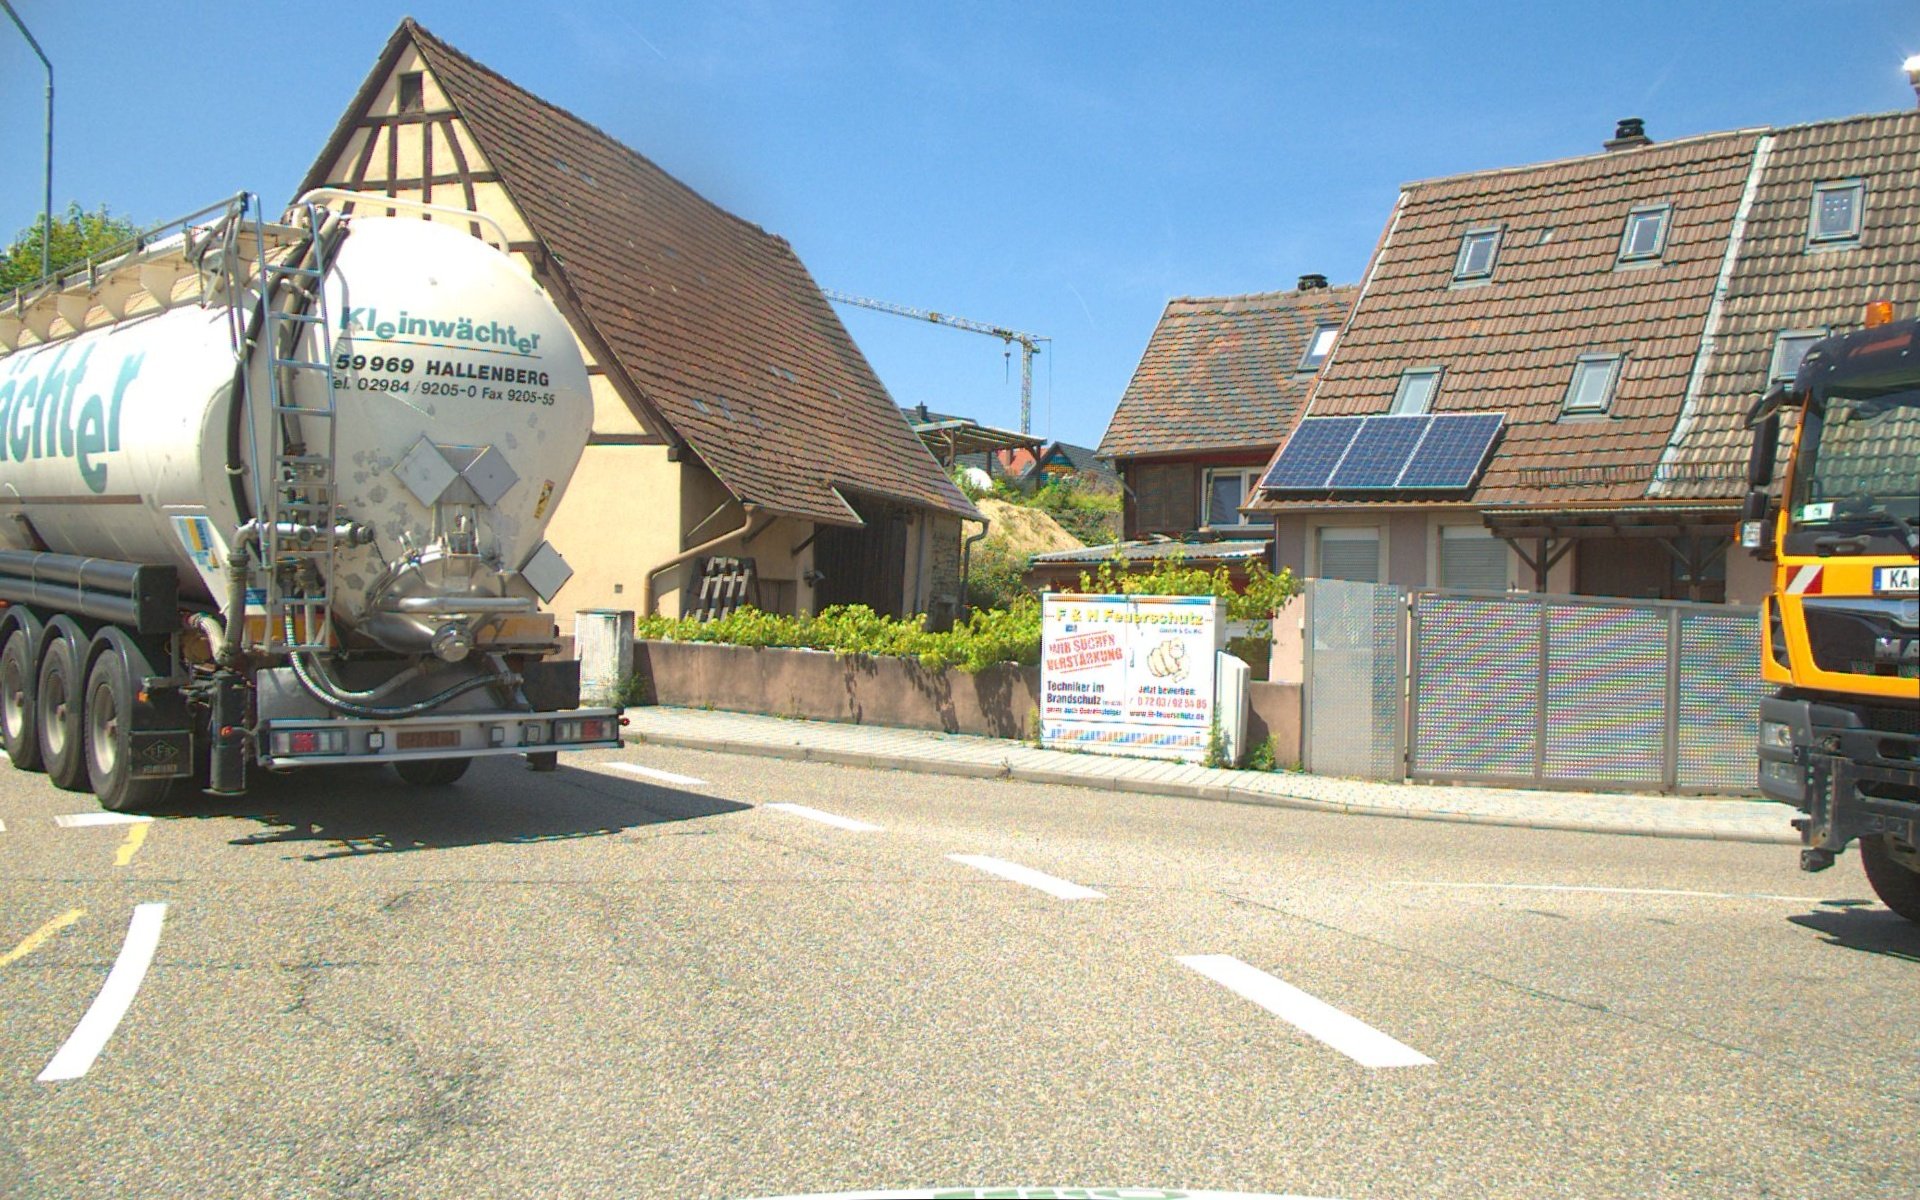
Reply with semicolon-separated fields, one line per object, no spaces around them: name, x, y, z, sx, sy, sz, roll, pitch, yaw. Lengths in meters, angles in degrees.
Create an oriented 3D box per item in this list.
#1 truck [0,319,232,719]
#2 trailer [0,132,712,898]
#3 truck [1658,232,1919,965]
truck;-11.482;-0.881;19.074;5.461;4.034;2.990;2;0;32
trailer;-6.522;-0.543;13.958;2.936;4.017;11.444;3;0;-41
truck;7.637;0.199;8.626;7.320;3.237;2.657;4;-2;-17
